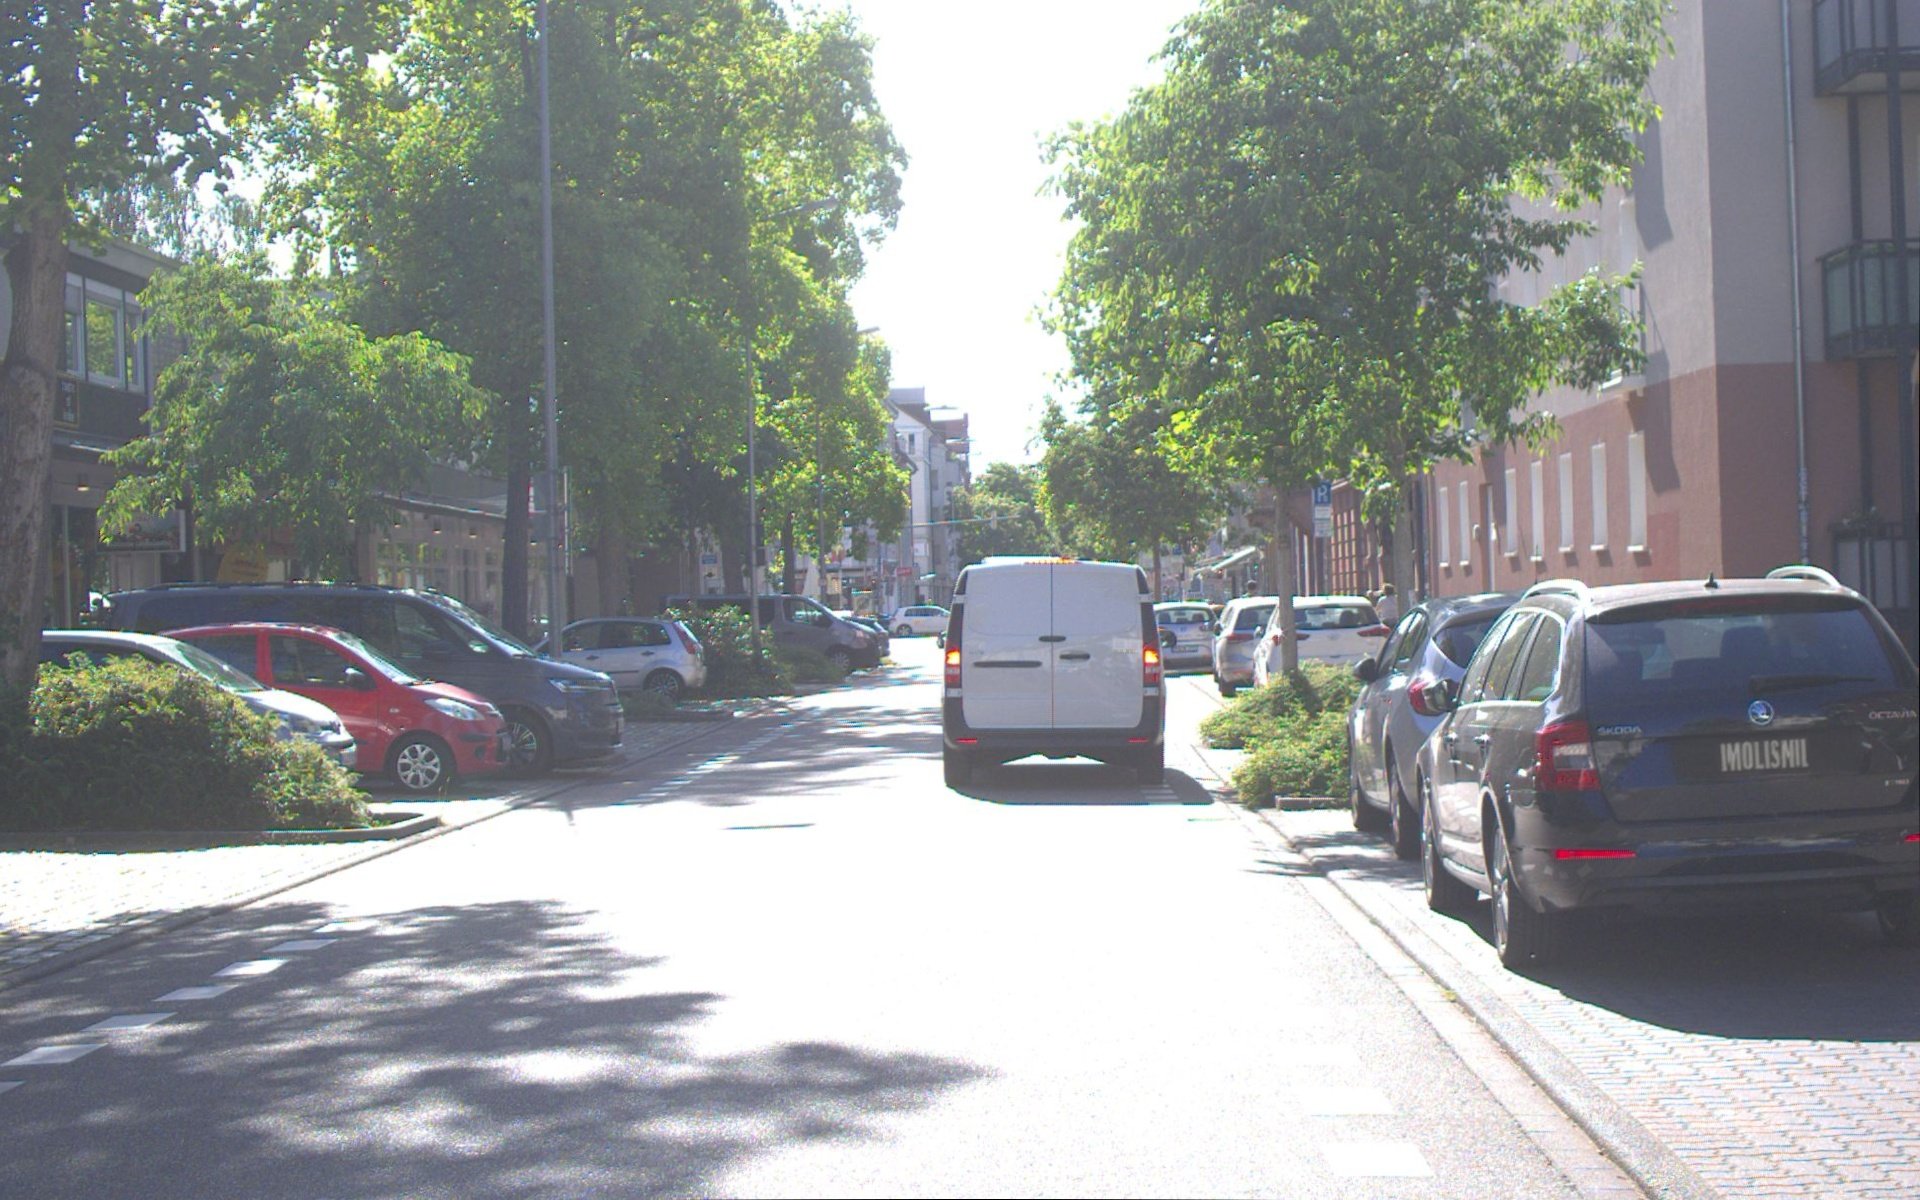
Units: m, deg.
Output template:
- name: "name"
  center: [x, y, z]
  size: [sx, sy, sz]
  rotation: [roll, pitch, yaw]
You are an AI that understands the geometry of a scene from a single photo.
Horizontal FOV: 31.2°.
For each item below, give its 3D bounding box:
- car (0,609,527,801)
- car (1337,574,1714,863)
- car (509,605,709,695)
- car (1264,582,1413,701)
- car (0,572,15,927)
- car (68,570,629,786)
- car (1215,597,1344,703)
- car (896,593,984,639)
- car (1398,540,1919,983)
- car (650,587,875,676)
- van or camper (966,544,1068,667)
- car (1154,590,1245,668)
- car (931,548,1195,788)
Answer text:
- name: "car"
  center: [-6.409, 0.948, 31.508]
  size: [4.626, 1.605, 1.661]
  rotation: [-1, -1, 1]
- name: "car"
  center: [3.273, 0.645, 20.568]
  size: [1.740, 1.514, 3.857]
  rotation: [-2, 0, 3]
- name: "car"
  center: [-5.812, 0.826, 57.103]
  size: [3.099, 1.404, 1.661]
  rotation: [-1, 0, 1]
- name: "car"
  center: [5.156, 0.552, 47.244]
  size: [1.740, 1.514, 3.857]
  rotation: [-2, 0, 3]
- name: "car"
  center: [-7.203, 0.808, 16.788]
  size: [4.626, 1.798, 1.837]
  rotation: [-1, 0, 1]
- name: "car"
  center: [-6.007, 0.759, 34.129]
  size: [5.212, 1.974, 1.661]
  rotation: [-1, 0, 1]
- name: "car"
  center: [4.854, 0.740, 52.621]
  size: [1.740, 1.514, 3.857]
  rotation: [-2, 0, 3]
- name: "car"
  center: [-0.940, 0.760, 159.801]
  size: [3.986, 2.007, 2.000]
  rotation: [-2, 0, -2]
- name: "car"
  center: [2.936, 0.571, 14.377]
  size: [1.783, 1.514, 4.308]
  rotation: [-2, 0, 3]
- name: "car"
  center: [-4.686, 0.741, 81.997]
  size: [5.212, 1.974, 1.661]
  rotation: [-1, 0, 1]
- name: "van or camper"
  center: [1.269, 0.102, 74.070]
  size: [1.994, 2.467, 5.819]
  rotation: [-2, 0, 2]
- name: "car"
  center: [4.913, 0.581, 70.841]
  size: [1.740, 1.514, 3.857]
  rotation: [-2, 0, 3]
- name: "car"
  center: [0.907, 0.543, 30.853]
  size: [2.101, 1.901, 5.424]
  rotation: [-2, 0, 1]
